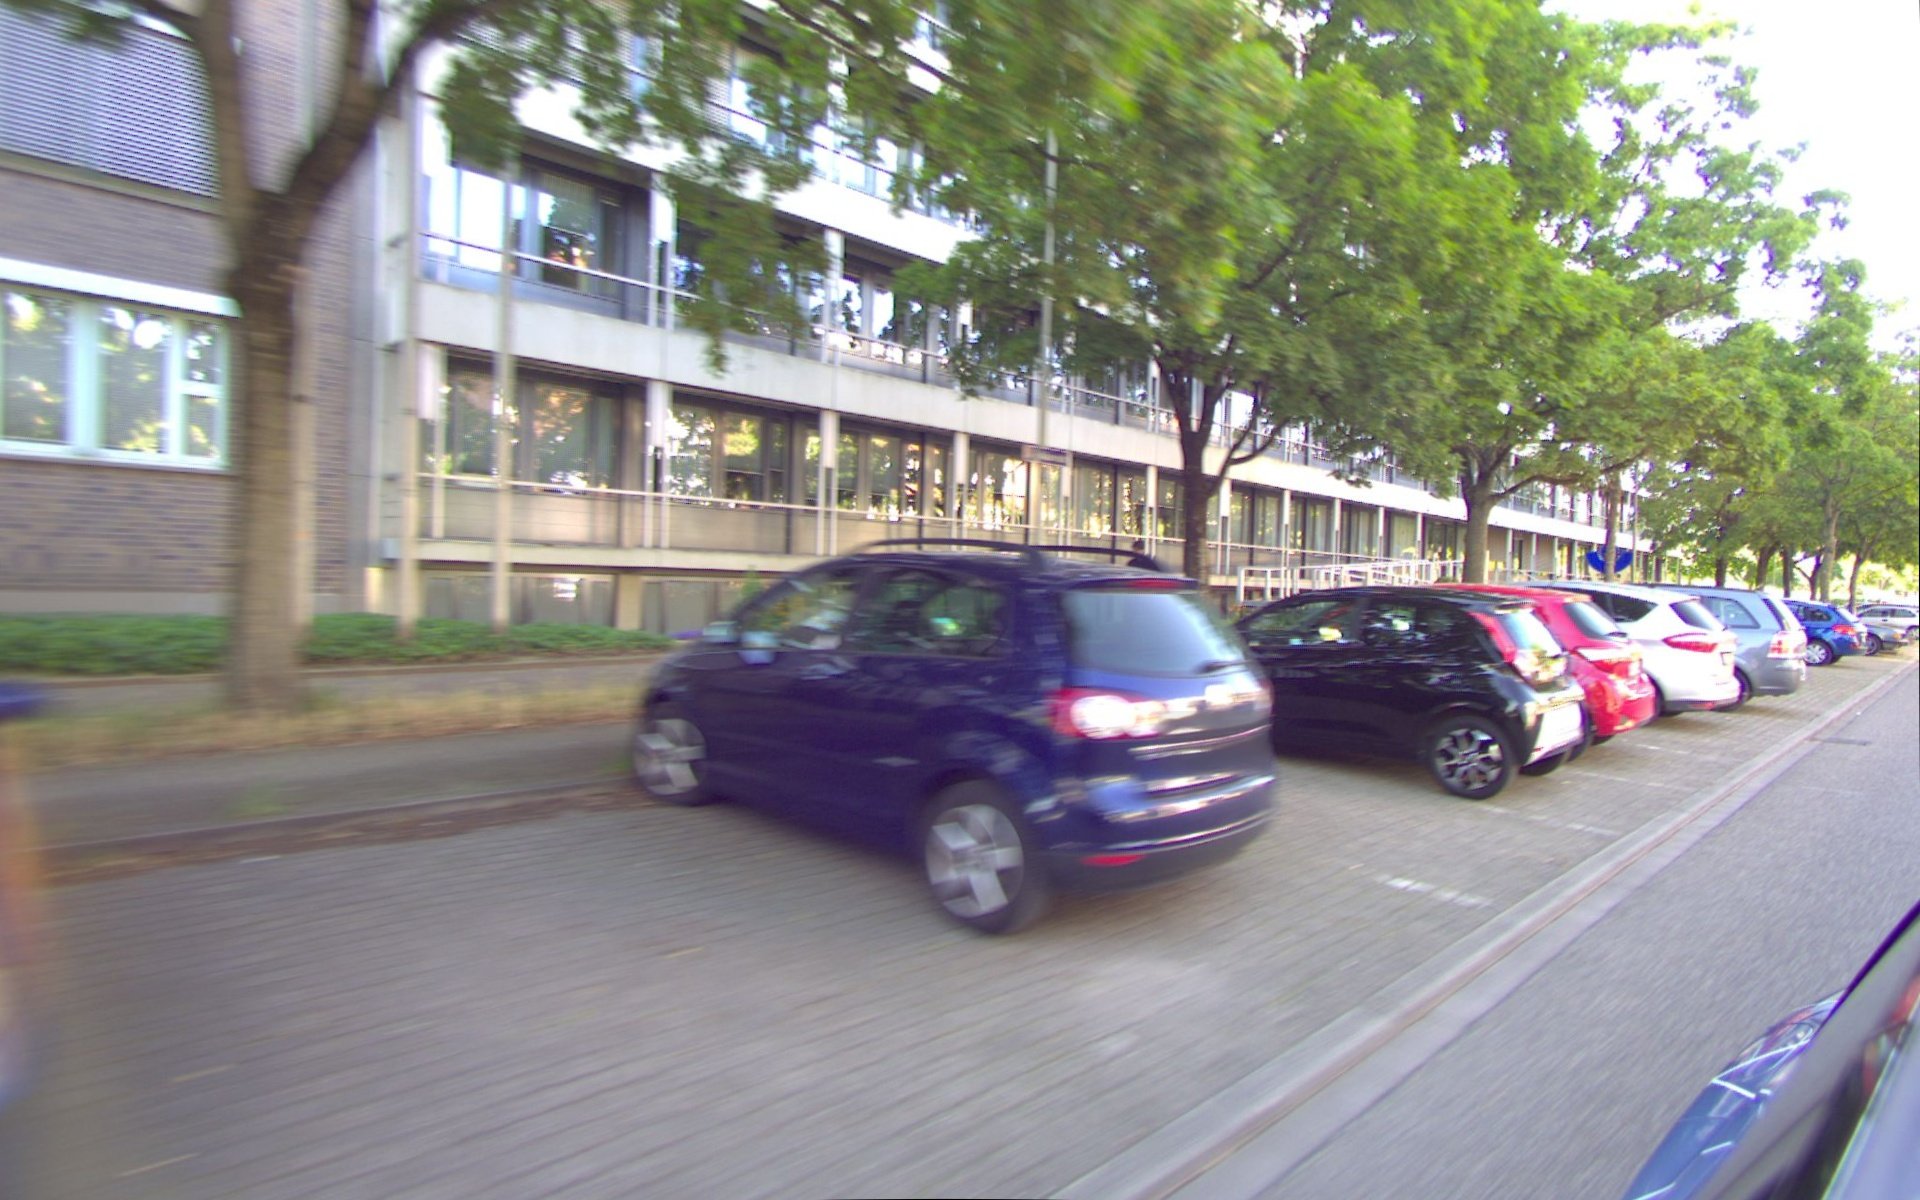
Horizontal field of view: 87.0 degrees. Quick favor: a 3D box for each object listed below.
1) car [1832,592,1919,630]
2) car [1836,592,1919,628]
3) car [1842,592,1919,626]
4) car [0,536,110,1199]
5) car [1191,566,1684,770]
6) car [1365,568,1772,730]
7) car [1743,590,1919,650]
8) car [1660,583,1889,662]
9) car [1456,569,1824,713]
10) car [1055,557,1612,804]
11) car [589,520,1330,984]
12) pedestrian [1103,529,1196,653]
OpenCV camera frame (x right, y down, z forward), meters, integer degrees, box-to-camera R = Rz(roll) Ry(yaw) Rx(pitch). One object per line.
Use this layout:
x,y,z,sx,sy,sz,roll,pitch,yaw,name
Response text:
41.240,0.480,44.740,3.989,1.497,1.775,3,2,44,car
44.662,0.477,48.444,3.989,1.497,1.775,5,3,44,car
46.645,0.454,50.394,3.989,1.497,1.776,5,4,44,car
-3.345,0.522,2.370,4.117,1.387,1.629,5,4,43,car
4.623,0.492,10.186,4.124,1.536,1.808,4,3,43,car
7.379,0.464,12.589,1.684,1.604,3.994,0,2,-42,car
25.658,0.531,29.832,3.907,1.399,1.563,5,5,44,car
19.511,0.474,24.397,1.683,1.512,3.997,0,4,-40,car
9.637,0.459,14.541,4.124,1.687,1.878,3,2,43,car
2.974,0.469,8.674,4.125,1.479,1.635,5,4,43,car
-0.325,0.413,5.618,4.127,1.609,1.634,5,5,44,car
2.923,-0.139,15.636,1.002,1.821,1.035,0,0,-44,pedestrian
